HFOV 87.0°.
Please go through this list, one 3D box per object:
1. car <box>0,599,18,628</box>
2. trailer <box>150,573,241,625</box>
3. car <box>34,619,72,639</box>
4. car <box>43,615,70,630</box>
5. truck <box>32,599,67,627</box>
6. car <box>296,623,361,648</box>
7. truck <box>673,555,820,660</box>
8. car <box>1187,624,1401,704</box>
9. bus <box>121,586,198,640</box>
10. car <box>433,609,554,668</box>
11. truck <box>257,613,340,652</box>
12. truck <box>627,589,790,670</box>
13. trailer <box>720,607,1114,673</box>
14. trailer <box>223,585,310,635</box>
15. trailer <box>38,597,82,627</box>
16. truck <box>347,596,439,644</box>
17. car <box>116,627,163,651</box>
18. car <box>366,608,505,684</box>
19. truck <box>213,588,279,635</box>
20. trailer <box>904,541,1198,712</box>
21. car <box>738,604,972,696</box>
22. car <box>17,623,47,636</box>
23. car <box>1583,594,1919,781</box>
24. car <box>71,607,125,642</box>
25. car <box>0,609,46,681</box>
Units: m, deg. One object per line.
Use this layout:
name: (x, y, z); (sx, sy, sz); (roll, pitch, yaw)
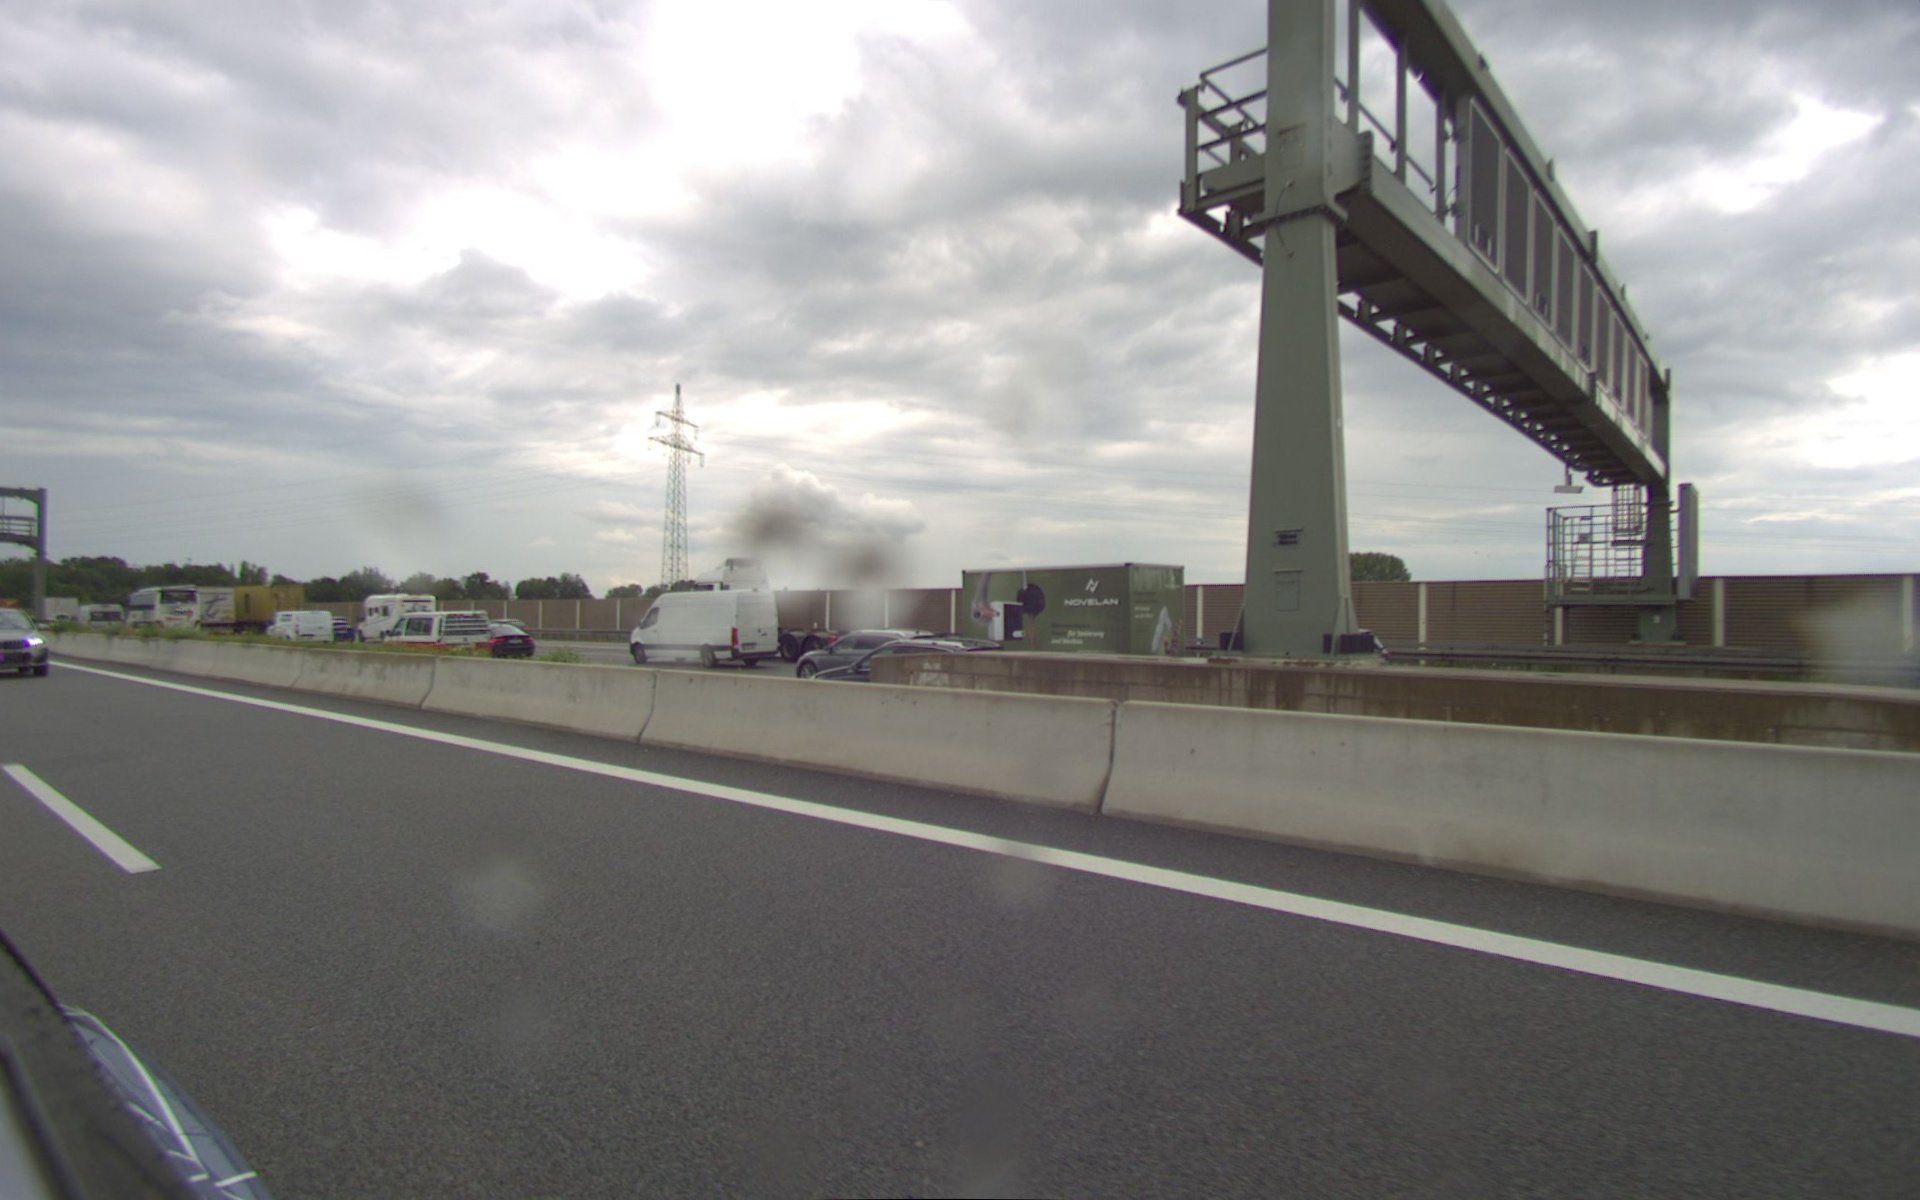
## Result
car: (-145.824, 2.078, 153.108); (14.382, 4.155, 2.953); (-1, 0, 40)
trailer: (-62.320, 0.027, 82.310); (14.288, 3.991, 2.856); (-1, 0, 41)
car: (-75.149, 2.396, 83.854); (4.373, 1.551, 1.719); (-1, 0, 40)
car: (-107.230, 2.657, 120.111); (4.574, 1.753, 1.772); (-1, 0, 40)
truck: (-135.088, 1.941, 150.162); (6.616, 4.147, 2.871); (-1, 0, 40)
car: (-37.534, 2.082, 60.079); (4.943, 1.396, 1.943); (-1, -1, 42)
truck: (-8.614, 0.344, 40.578); (6.048, 3.917, 2.723); (-1, -2, 42)
car: (6.976, 1.268, 21.323); (3.898, 1.506, 1.797); (-1, -1, 42)
bus: (-58.875, 0.956, 74.303); (10.630, 3.707, 2.626); (-1, -2, 42)
car: (-18.119, 1.441, 39.141); (5.539, 2.130, 2.220); (-1, -1, 42)
truck: (-35.412, 1.690, 54.101); (5.541, 2.015, 2.221); (-1, -1, 40)
truck: (-8.996, 1.020, 35.816); (6.554, 2.623, 2.220); (-1, -1, 41)
trailer: (-2.330, 1.268, 34.972); (16.343, 1.842, 2.723); (-1, -2, 42)
trailer: (-58.375, 0.897, 84.975); (12.969, 3.963, 2.997); (-1, -2, 42)
trailer: (-129.324, 1.755, 145.307); (12.687, 4.147, 2.871); (-1, 0, 40)
truck: (-35.687, 1.255, 63.575); (7.831, 2.835, 2.663); (-1, -1, 42)
car: (-50.321, 2.386, 62.049); (3.325, 1.399, 1.598); (-1, -1, 40)
car: (-17.156, 1.419, 32.971); (5.511, 2.254, 2.206); (-1, -1, 42)
truck: (-62.682, 1.034, 88.770); (7.707, 3.963, 2.997); (-1, -2, 42)
trailer: (1.780, 0.555, 21.686); (6.048, 3.162, 2.423); (-1, -2, 42)
car: (-2.805, 1.191, 25.778); (6.191, 2.067, 2.423); (-1, -2, 42)
car: (-101.805, 3.225, 110.998); (4.856, 1.392, 1.770); (-1, 0, 40)
car: (9.232, 0.824, 10.195); (4.805, 1.722, 1.797); (-1, -1, 42)
car: (-60.897, 1.718, 71.473); (5.708, 2.369, 2.114); (-1, 0, 41)
car: (-23.638, 1.058, 24.451); (4.913, 1.637, 1.817); (-1, -1, 42)
